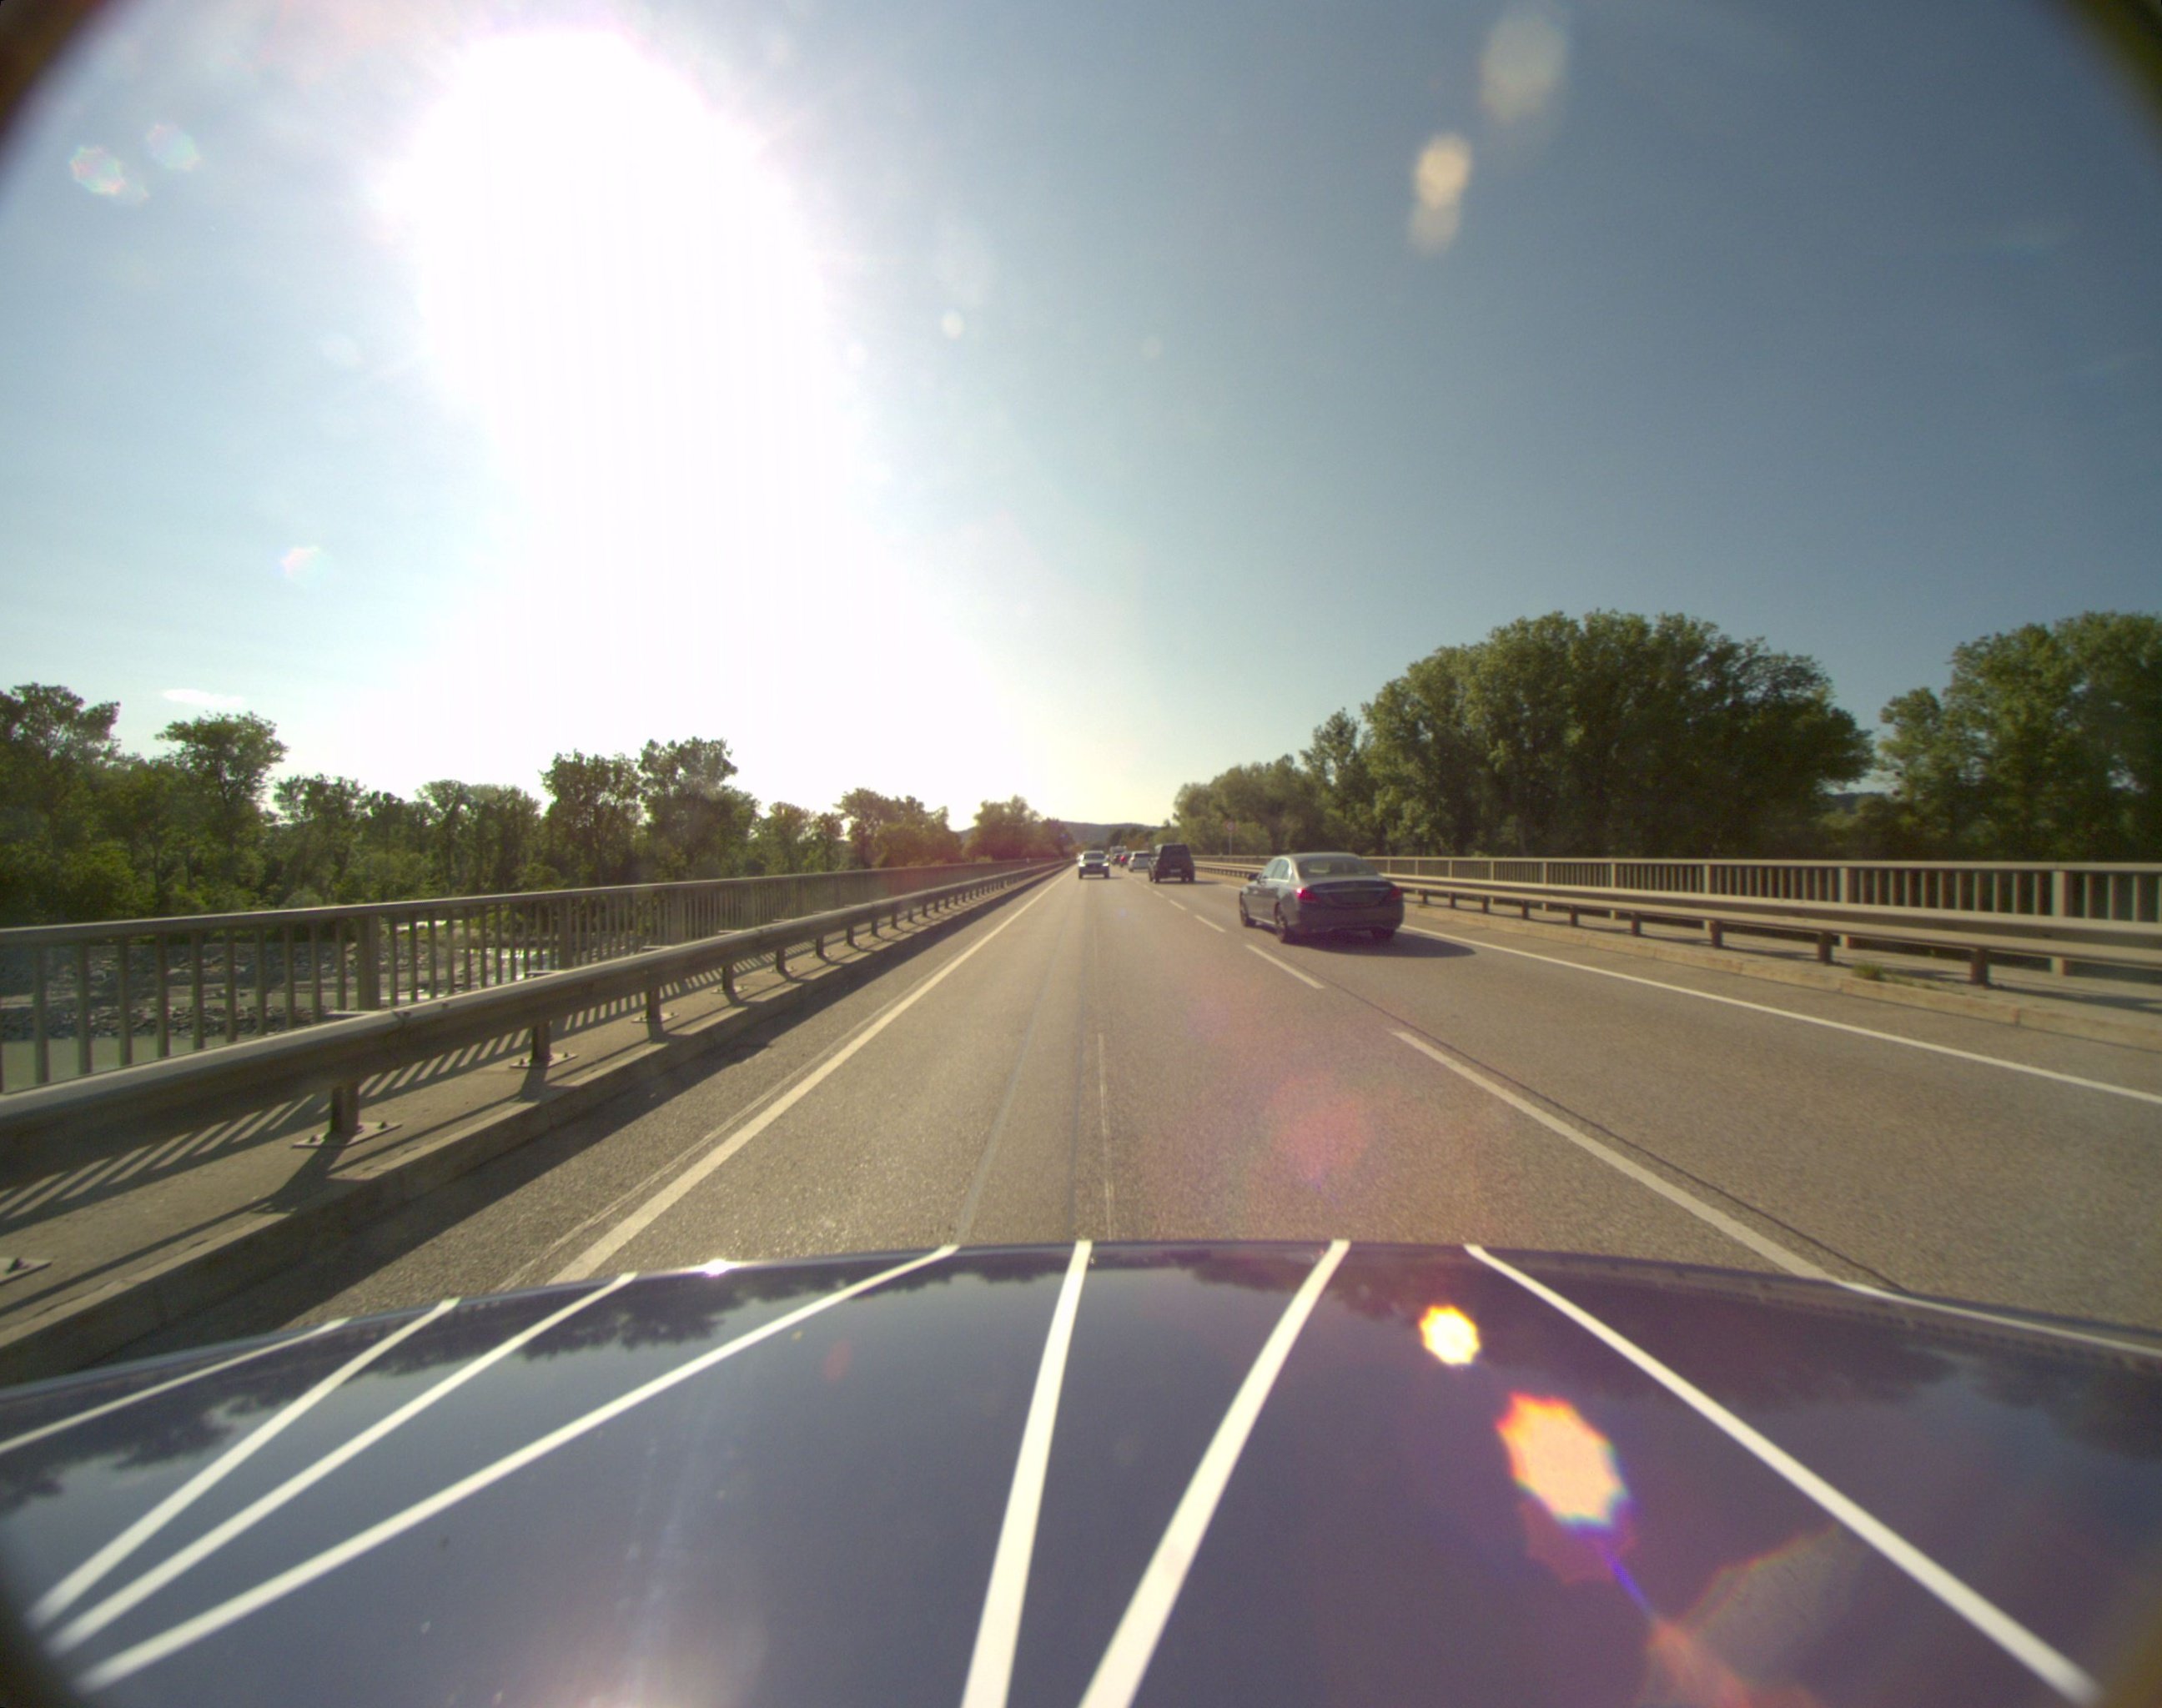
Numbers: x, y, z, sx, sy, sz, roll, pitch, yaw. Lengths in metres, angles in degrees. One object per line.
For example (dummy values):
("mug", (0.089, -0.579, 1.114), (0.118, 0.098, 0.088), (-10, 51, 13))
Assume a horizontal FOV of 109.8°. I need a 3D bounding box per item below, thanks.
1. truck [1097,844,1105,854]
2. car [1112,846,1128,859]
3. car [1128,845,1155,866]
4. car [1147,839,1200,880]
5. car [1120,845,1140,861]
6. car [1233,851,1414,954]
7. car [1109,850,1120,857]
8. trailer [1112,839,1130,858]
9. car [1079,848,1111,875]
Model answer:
("truck", (6.953, -1.624, 261.364), (2.620, 3.235, 6.966), (-1, 0, 0))
("car", (5.295, -0.223, 103.729), (1.807, 1.651, 4.432), (-2, 1, 0))
("car", (5.037, 0.091, 63.650), (1.988, 1.641, 4.598), (-2, 0, 1))
("car", (4.588, 0.242, 38.541), (2.042, 1.863, 5.069), (-2, 1, 0))
("car", (5.453, -0.098, 85.514), (1.954, 1.684, 4.476), (-2, 1, 0))
("car", (4.004, 0.701, 13.367), (1.770, 1.439, 4.456), (-2, 1, 1))
("car", (6.357, -0.091, 143.041), (1.791, 1.412, 4.650), (-1, 1, -1))
("trailer", (6.304, -0.905, 118.649), (2.561, 2.721, 8.063), (-2, 1, 3))
("car", (0.930, 0.451, 49.047), (1.871, 1.599, 4.379), (-2, 1, 2))
